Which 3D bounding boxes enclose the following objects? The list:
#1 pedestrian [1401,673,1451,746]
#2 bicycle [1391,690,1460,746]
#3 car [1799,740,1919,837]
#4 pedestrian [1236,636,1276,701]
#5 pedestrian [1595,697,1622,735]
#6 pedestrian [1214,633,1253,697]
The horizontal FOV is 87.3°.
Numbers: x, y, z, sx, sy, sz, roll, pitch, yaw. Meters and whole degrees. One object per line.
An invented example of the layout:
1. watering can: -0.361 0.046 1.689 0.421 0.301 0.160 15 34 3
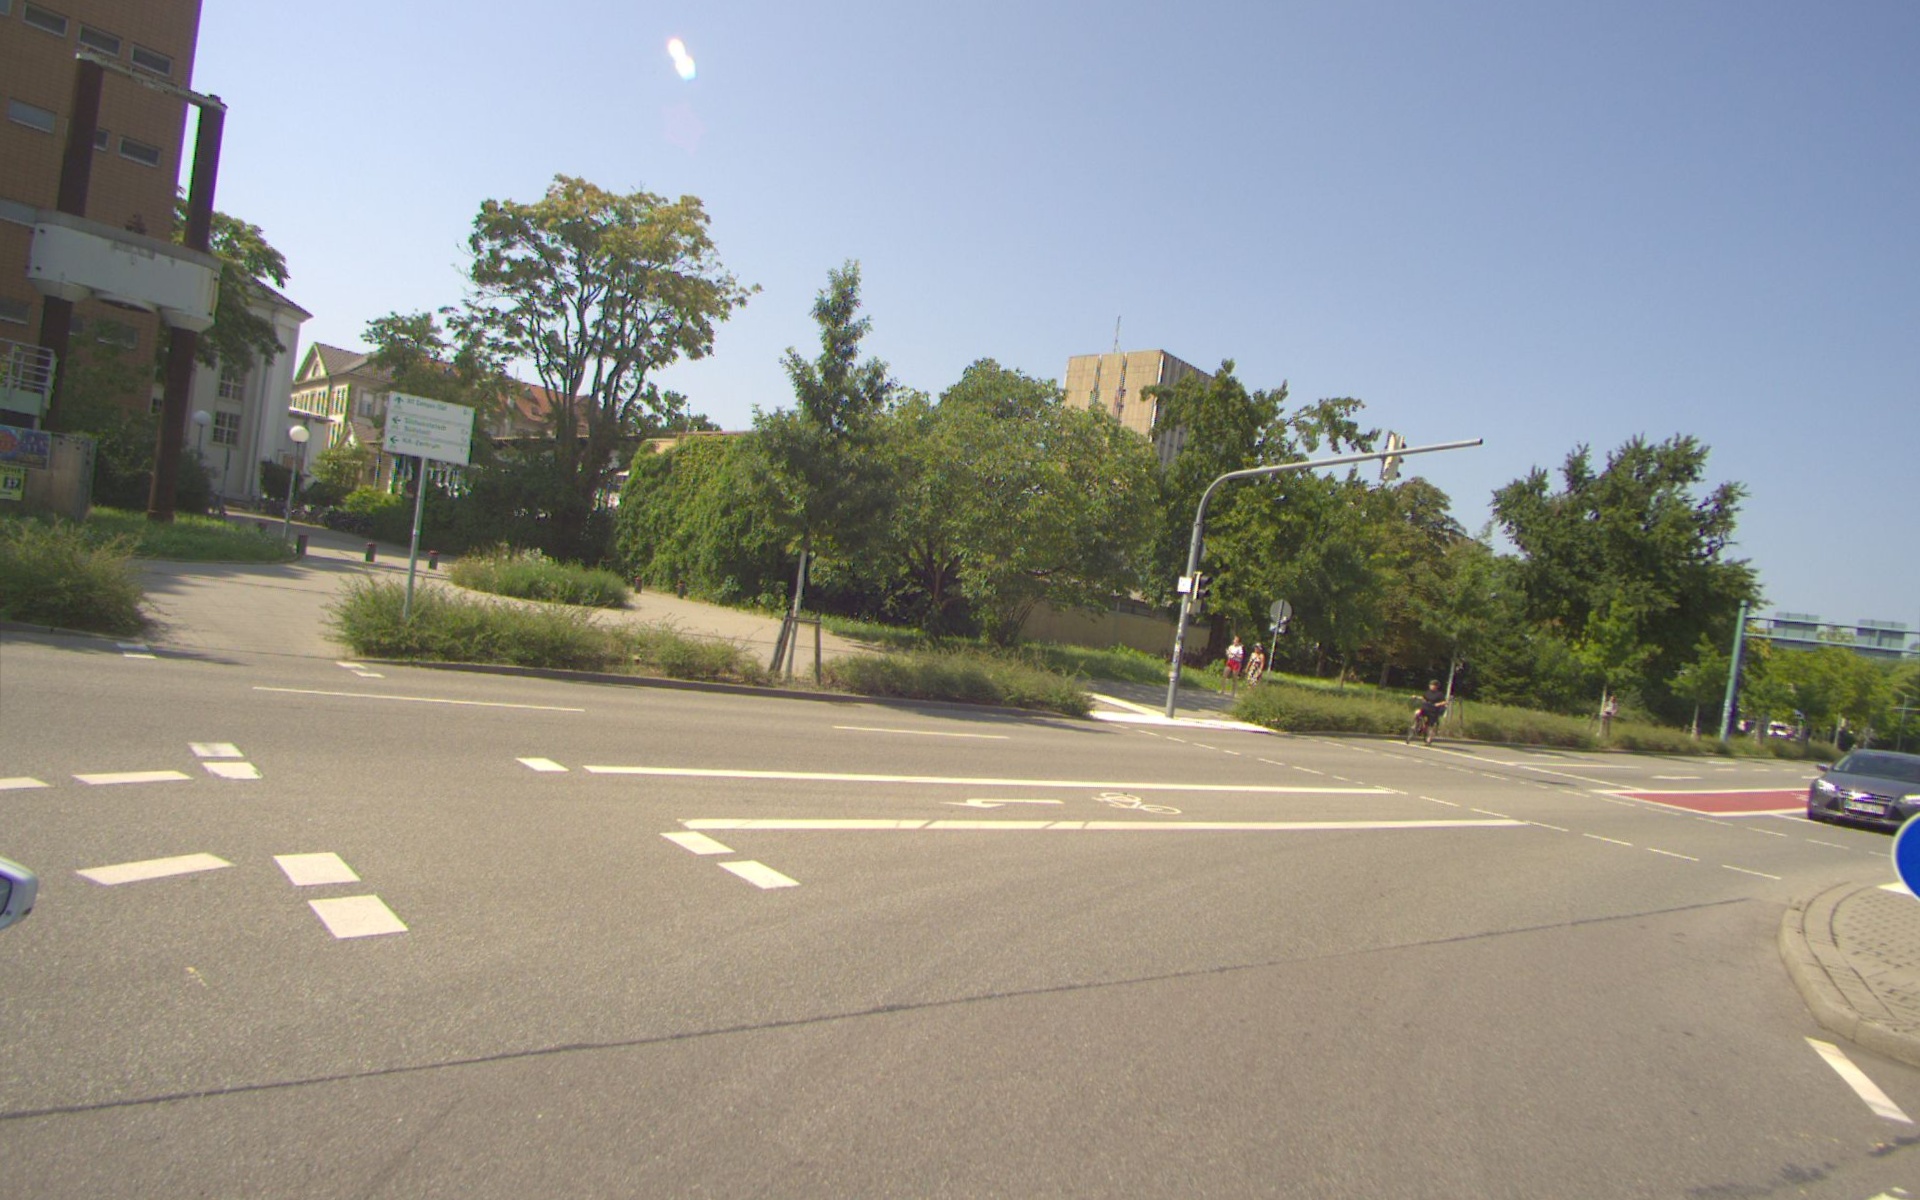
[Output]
1. pedestrian: 11.759 2.755 25.400 0.545 1.690 0.772 7 1 -40
2. bicycle: 11.794 2.997 25.462 1.777 1.227 0.777 8 1 -40
3. car: 17.219 3.496 18.803 3.401 1.373 1.771 9 -2 -41
4. pedestrian: 8.697 2.008 29.593 0.583 1.793 0.686 7 1 -40
5. pedestrian: 33.561 6.012 52.051 0.820 1.790 0.785 7 1 -40
6. pedestrian: 8.189 1.938 30.123 0.583 1.793 0.686 7 1 -40
